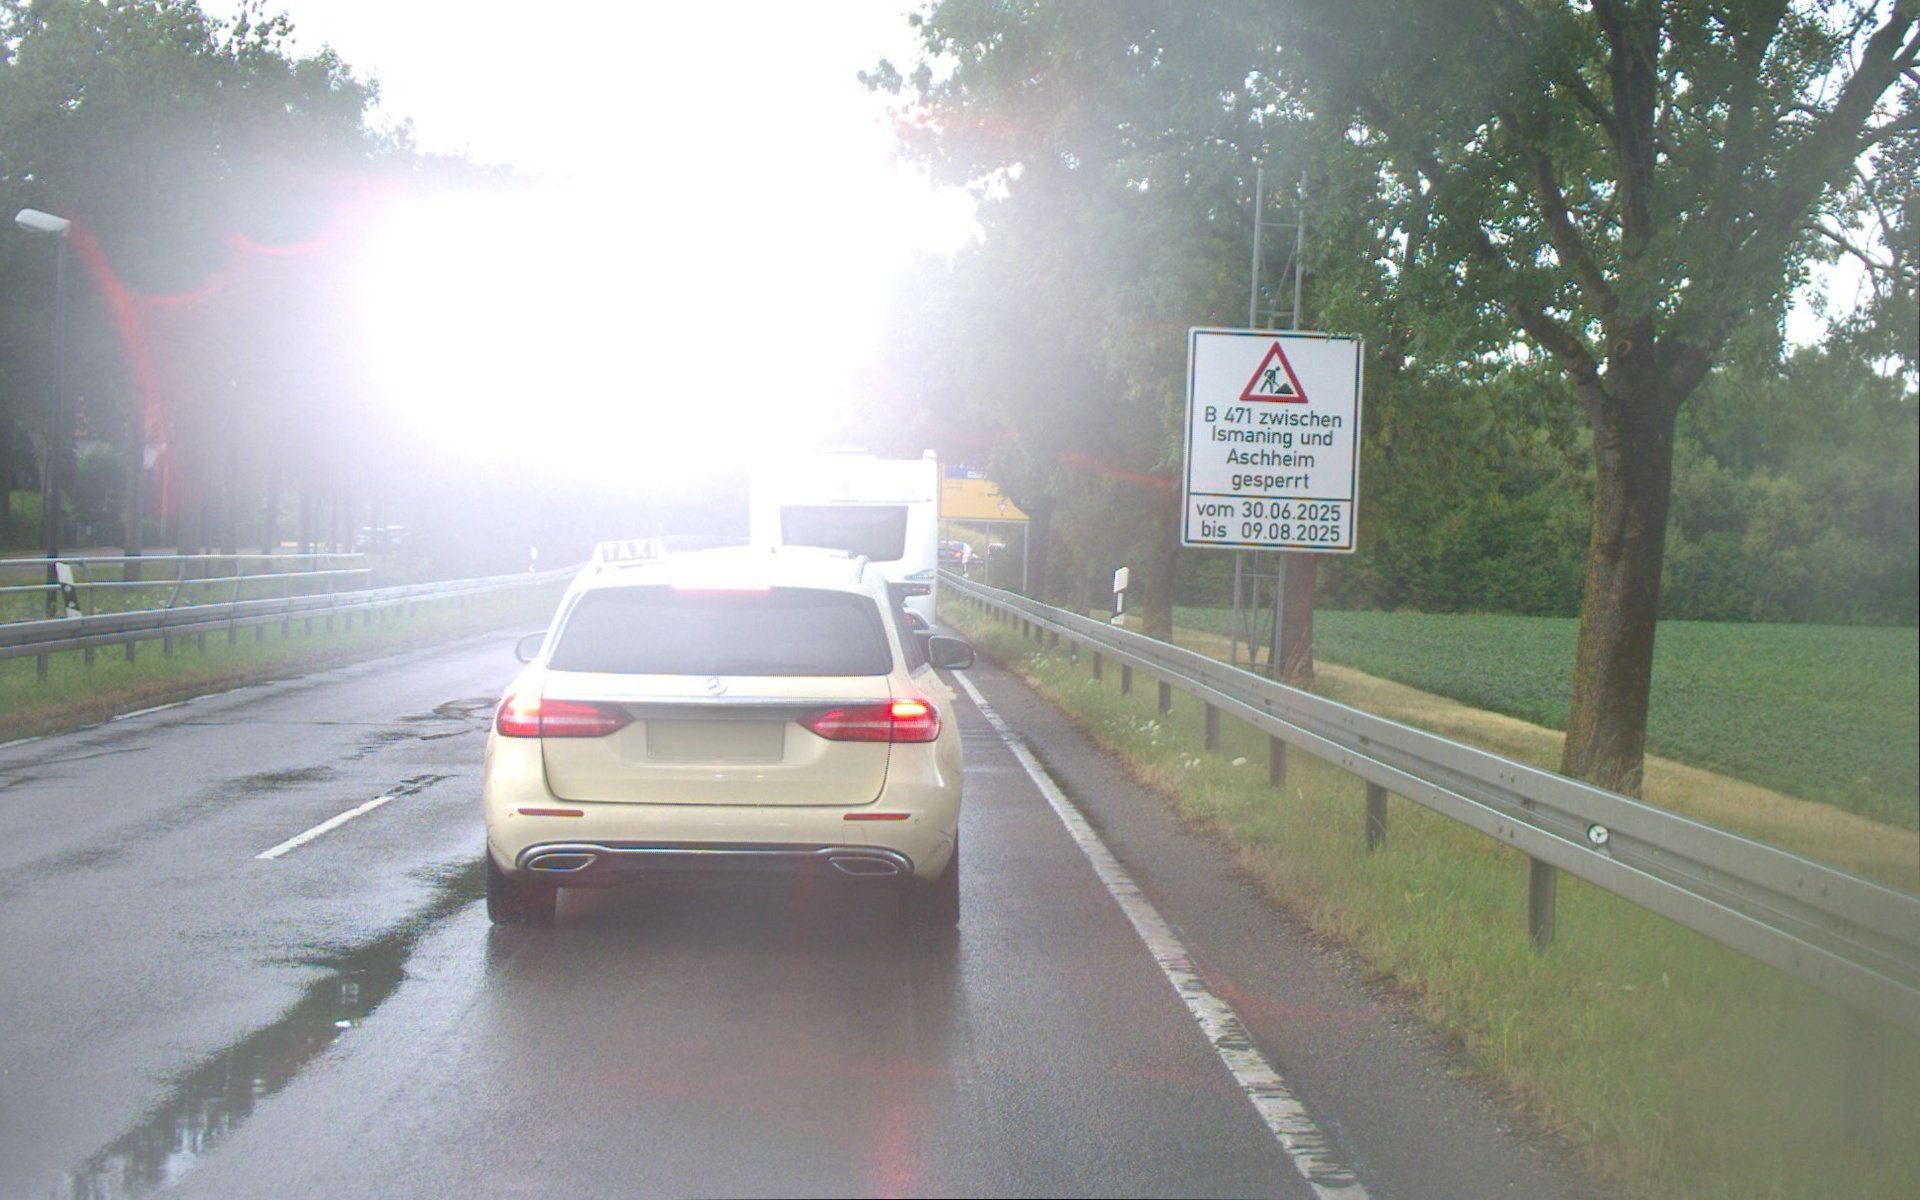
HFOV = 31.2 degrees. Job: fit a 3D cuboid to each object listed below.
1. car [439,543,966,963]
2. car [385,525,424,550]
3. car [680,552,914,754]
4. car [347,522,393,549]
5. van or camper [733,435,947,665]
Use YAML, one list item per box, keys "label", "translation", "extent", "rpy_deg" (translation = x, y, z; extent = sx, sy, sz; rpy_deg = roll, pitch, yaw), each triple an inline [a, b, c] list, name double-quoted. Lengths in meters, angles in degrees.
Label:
- label: "car"
  translation: [-0.934, 0.512, 14.216]
  extent: [1.865, 1.471, 4.000]
  rpy_deg: [0, 1, -1]
- label: "car"
  translation: [-32.415, -3.657, 200.840]
  extent: [1.785, 1.411, 4.001]
  rpy_deg: [2, 1, -3]
- label: "car"
  translation: [-1.206, 0.356, 26.815]
  extent: [1.664, 1.426, 4.000]
  rpy_deg: [0, 1, -1]
- label: "car"
  translation: [-32.143, -3.503, 187.404]
  extent: [1.785, 1.411, 4.000]
  rpy_deg: [2, 1, -1]
- label: "van or camper"
  translation: [-1.454, -0.647, 43.655]
  extent: [2.489, 2.676, 5.701]
  rpy_deg: [1, 1, -1]
